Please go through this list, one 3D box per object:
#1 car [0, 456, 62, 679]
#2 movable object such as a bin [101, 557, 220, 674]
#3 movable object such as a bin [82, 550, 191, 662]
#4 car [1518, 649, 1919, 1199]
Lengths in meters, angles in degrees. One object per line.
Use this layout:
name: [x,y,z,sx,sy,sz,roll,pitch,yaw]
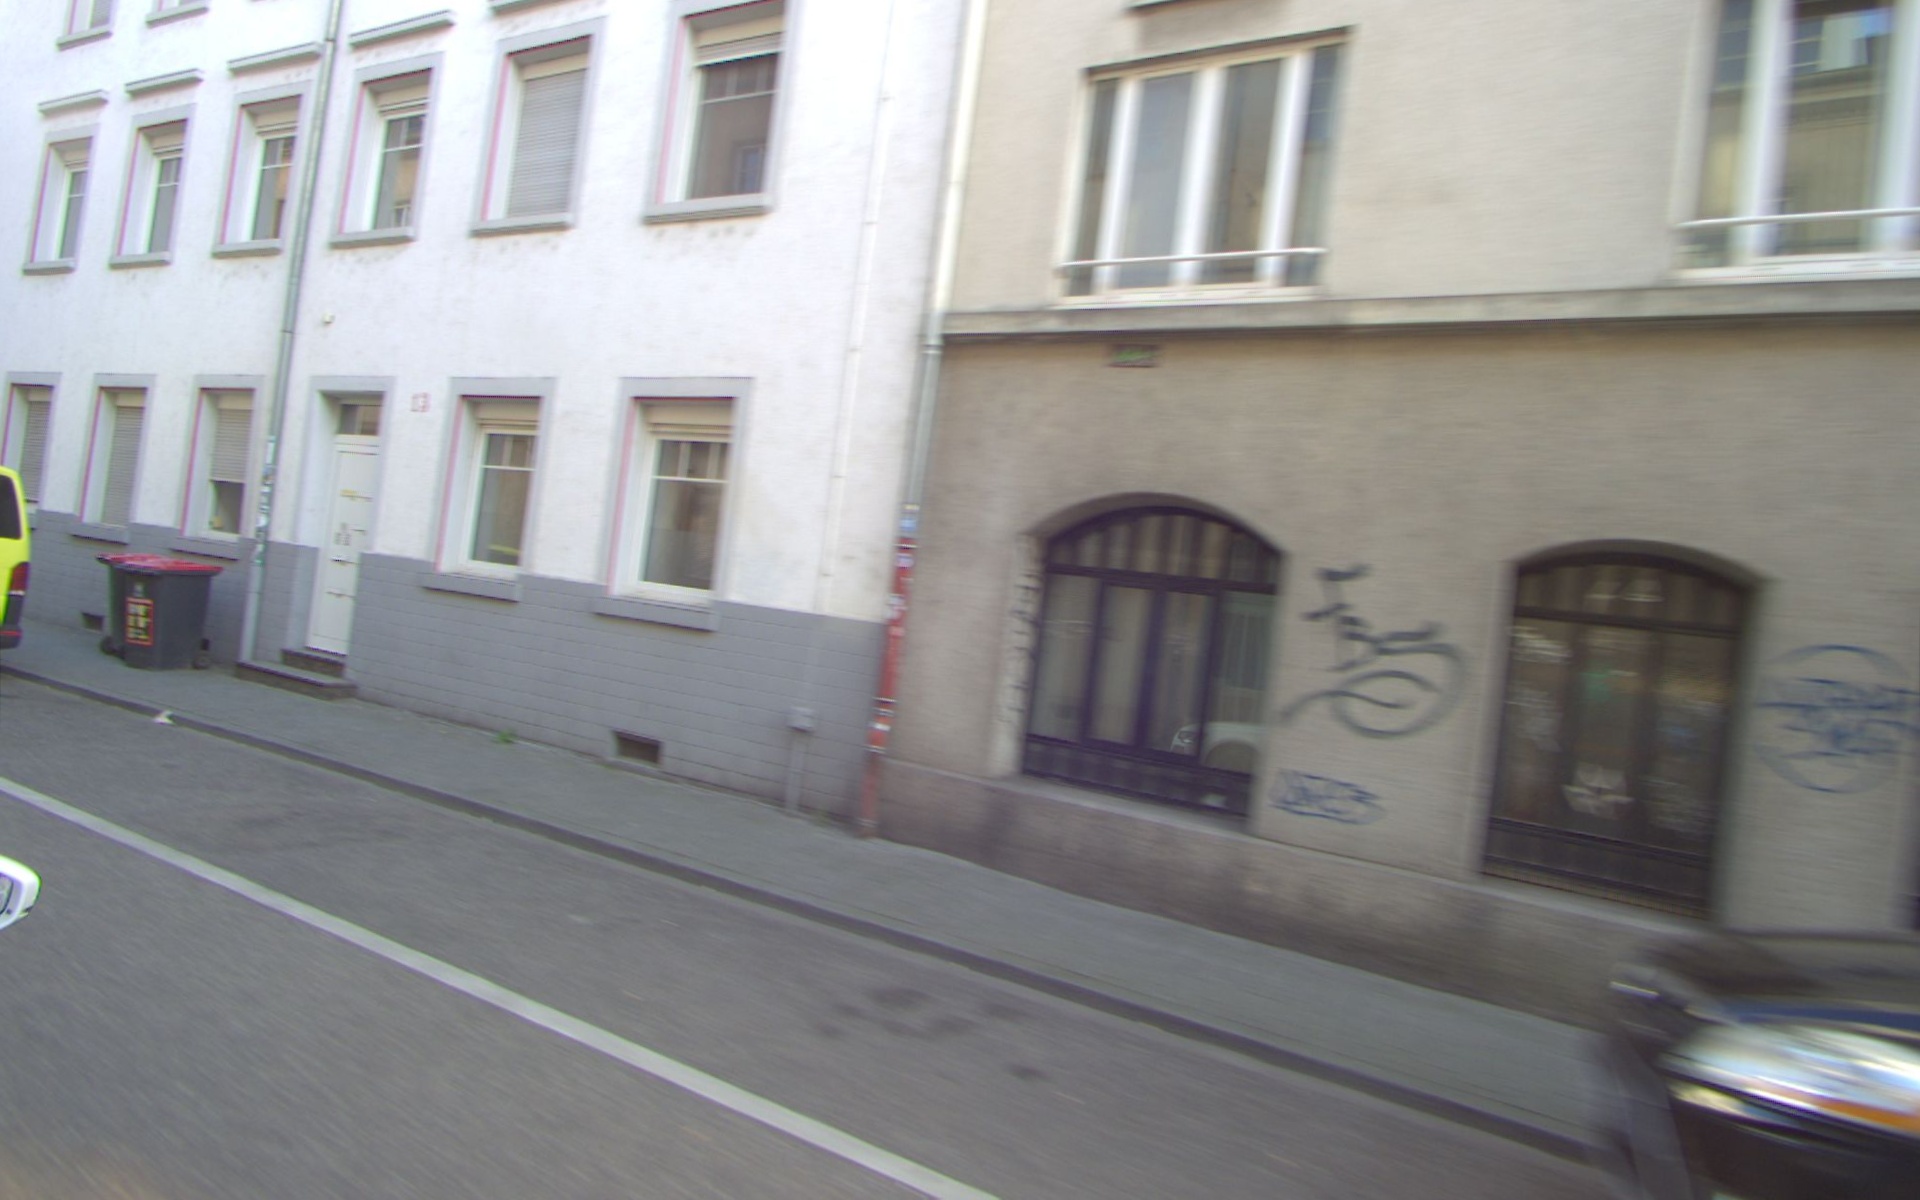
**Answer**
car: [-10.676,-0.607,9.100,4.758,1.903,1.890,7,-2,25]
movable object such as a bin: [-8.007,0.146,10.085,0.695,1.065,0.627,7,4,20]
movable object such as a bin: [-8.644,0.057,10.564,0.695,1.065,0.607,7,4,23]
car: [3.722,1.269,1.961,4.416,1.673,1.830,7,-2,29]
